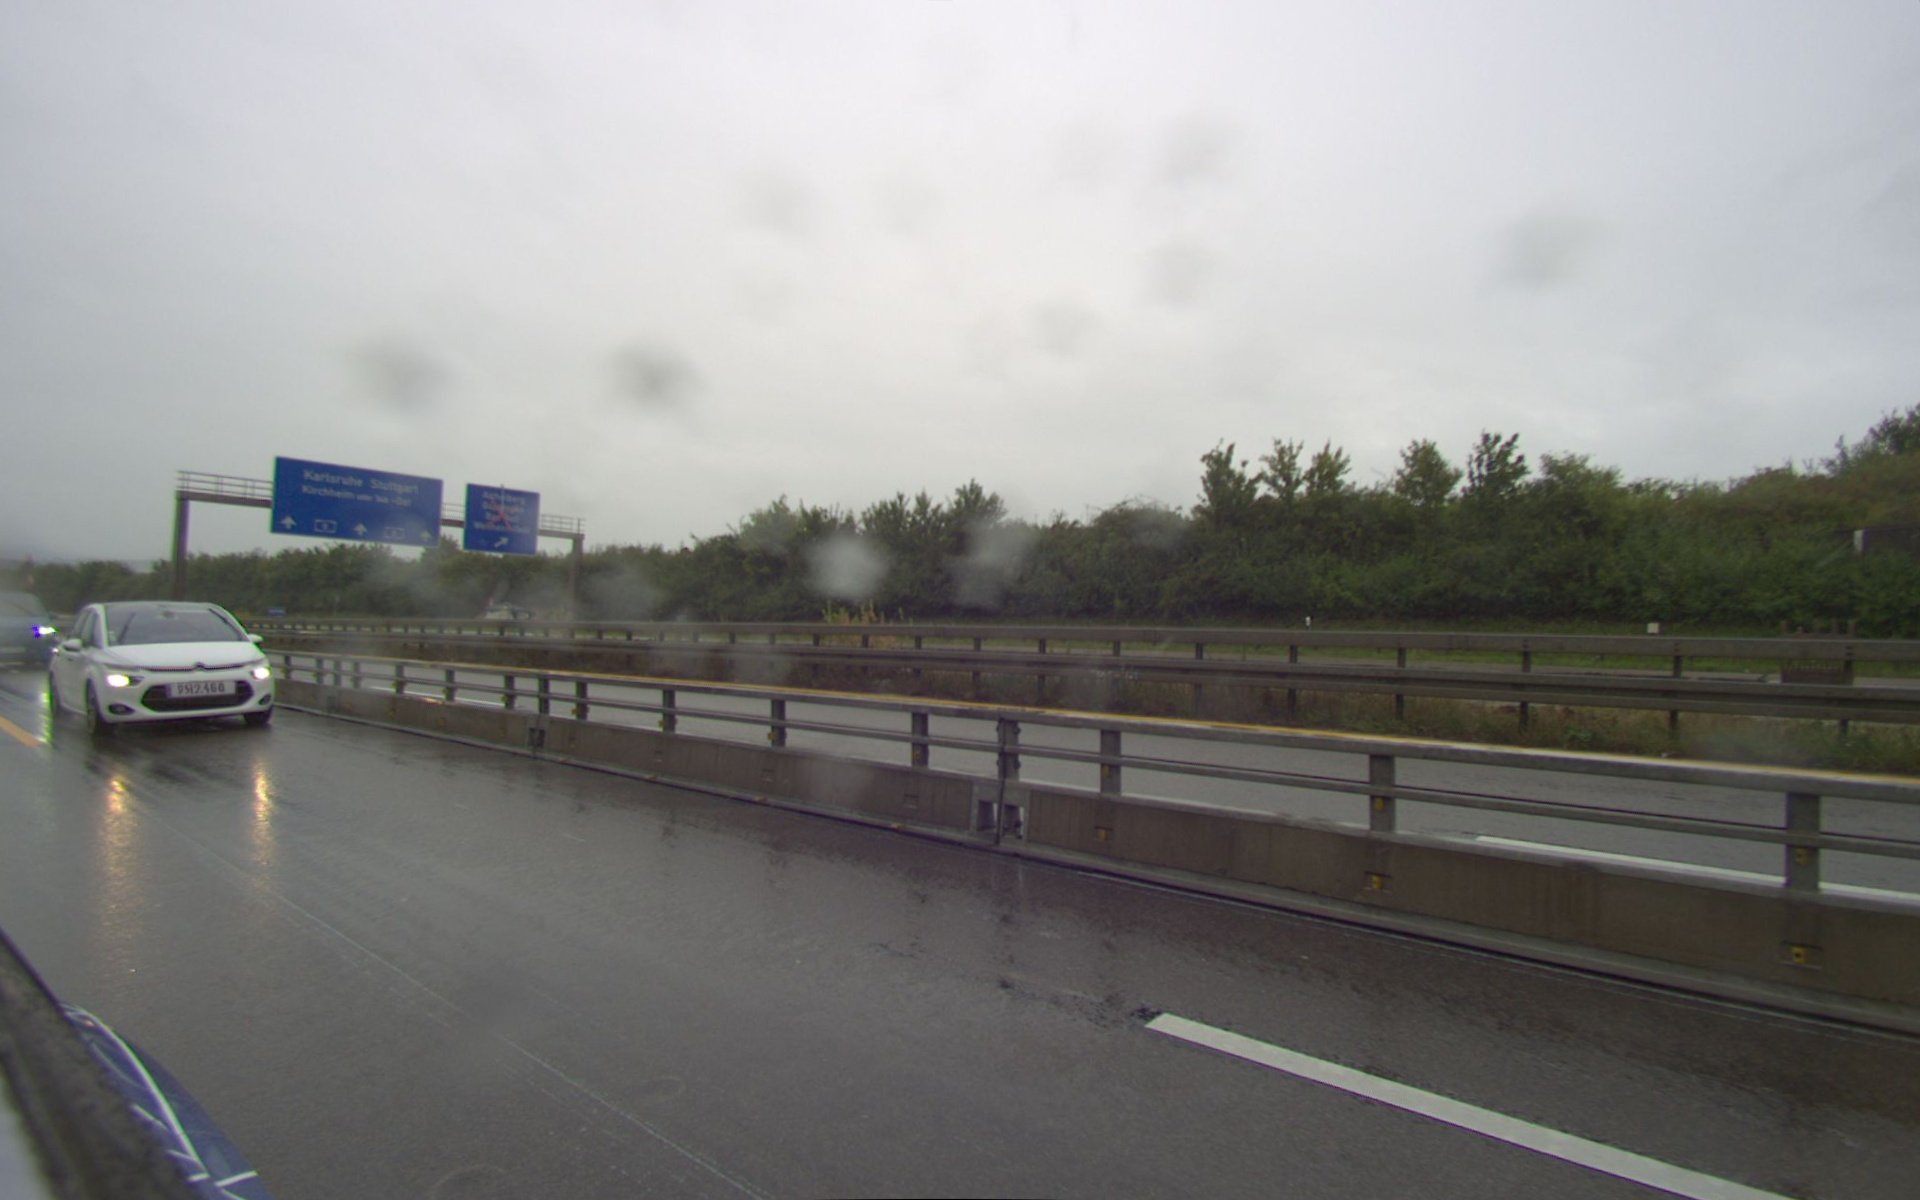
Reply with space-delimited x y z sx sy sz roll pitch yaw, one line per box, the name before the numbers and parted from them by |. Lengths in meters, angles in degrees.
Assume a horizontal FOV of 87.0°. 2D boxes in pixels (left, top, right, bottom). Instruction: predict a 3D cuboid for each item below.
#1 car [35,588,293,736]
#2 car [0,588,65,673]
car | -10.477 0.742 13.205 4.308 1.608 1.952 -2 -2 42
car | -24.926 0.746 26.026 5.561 2.029 2.183 0 0 41
